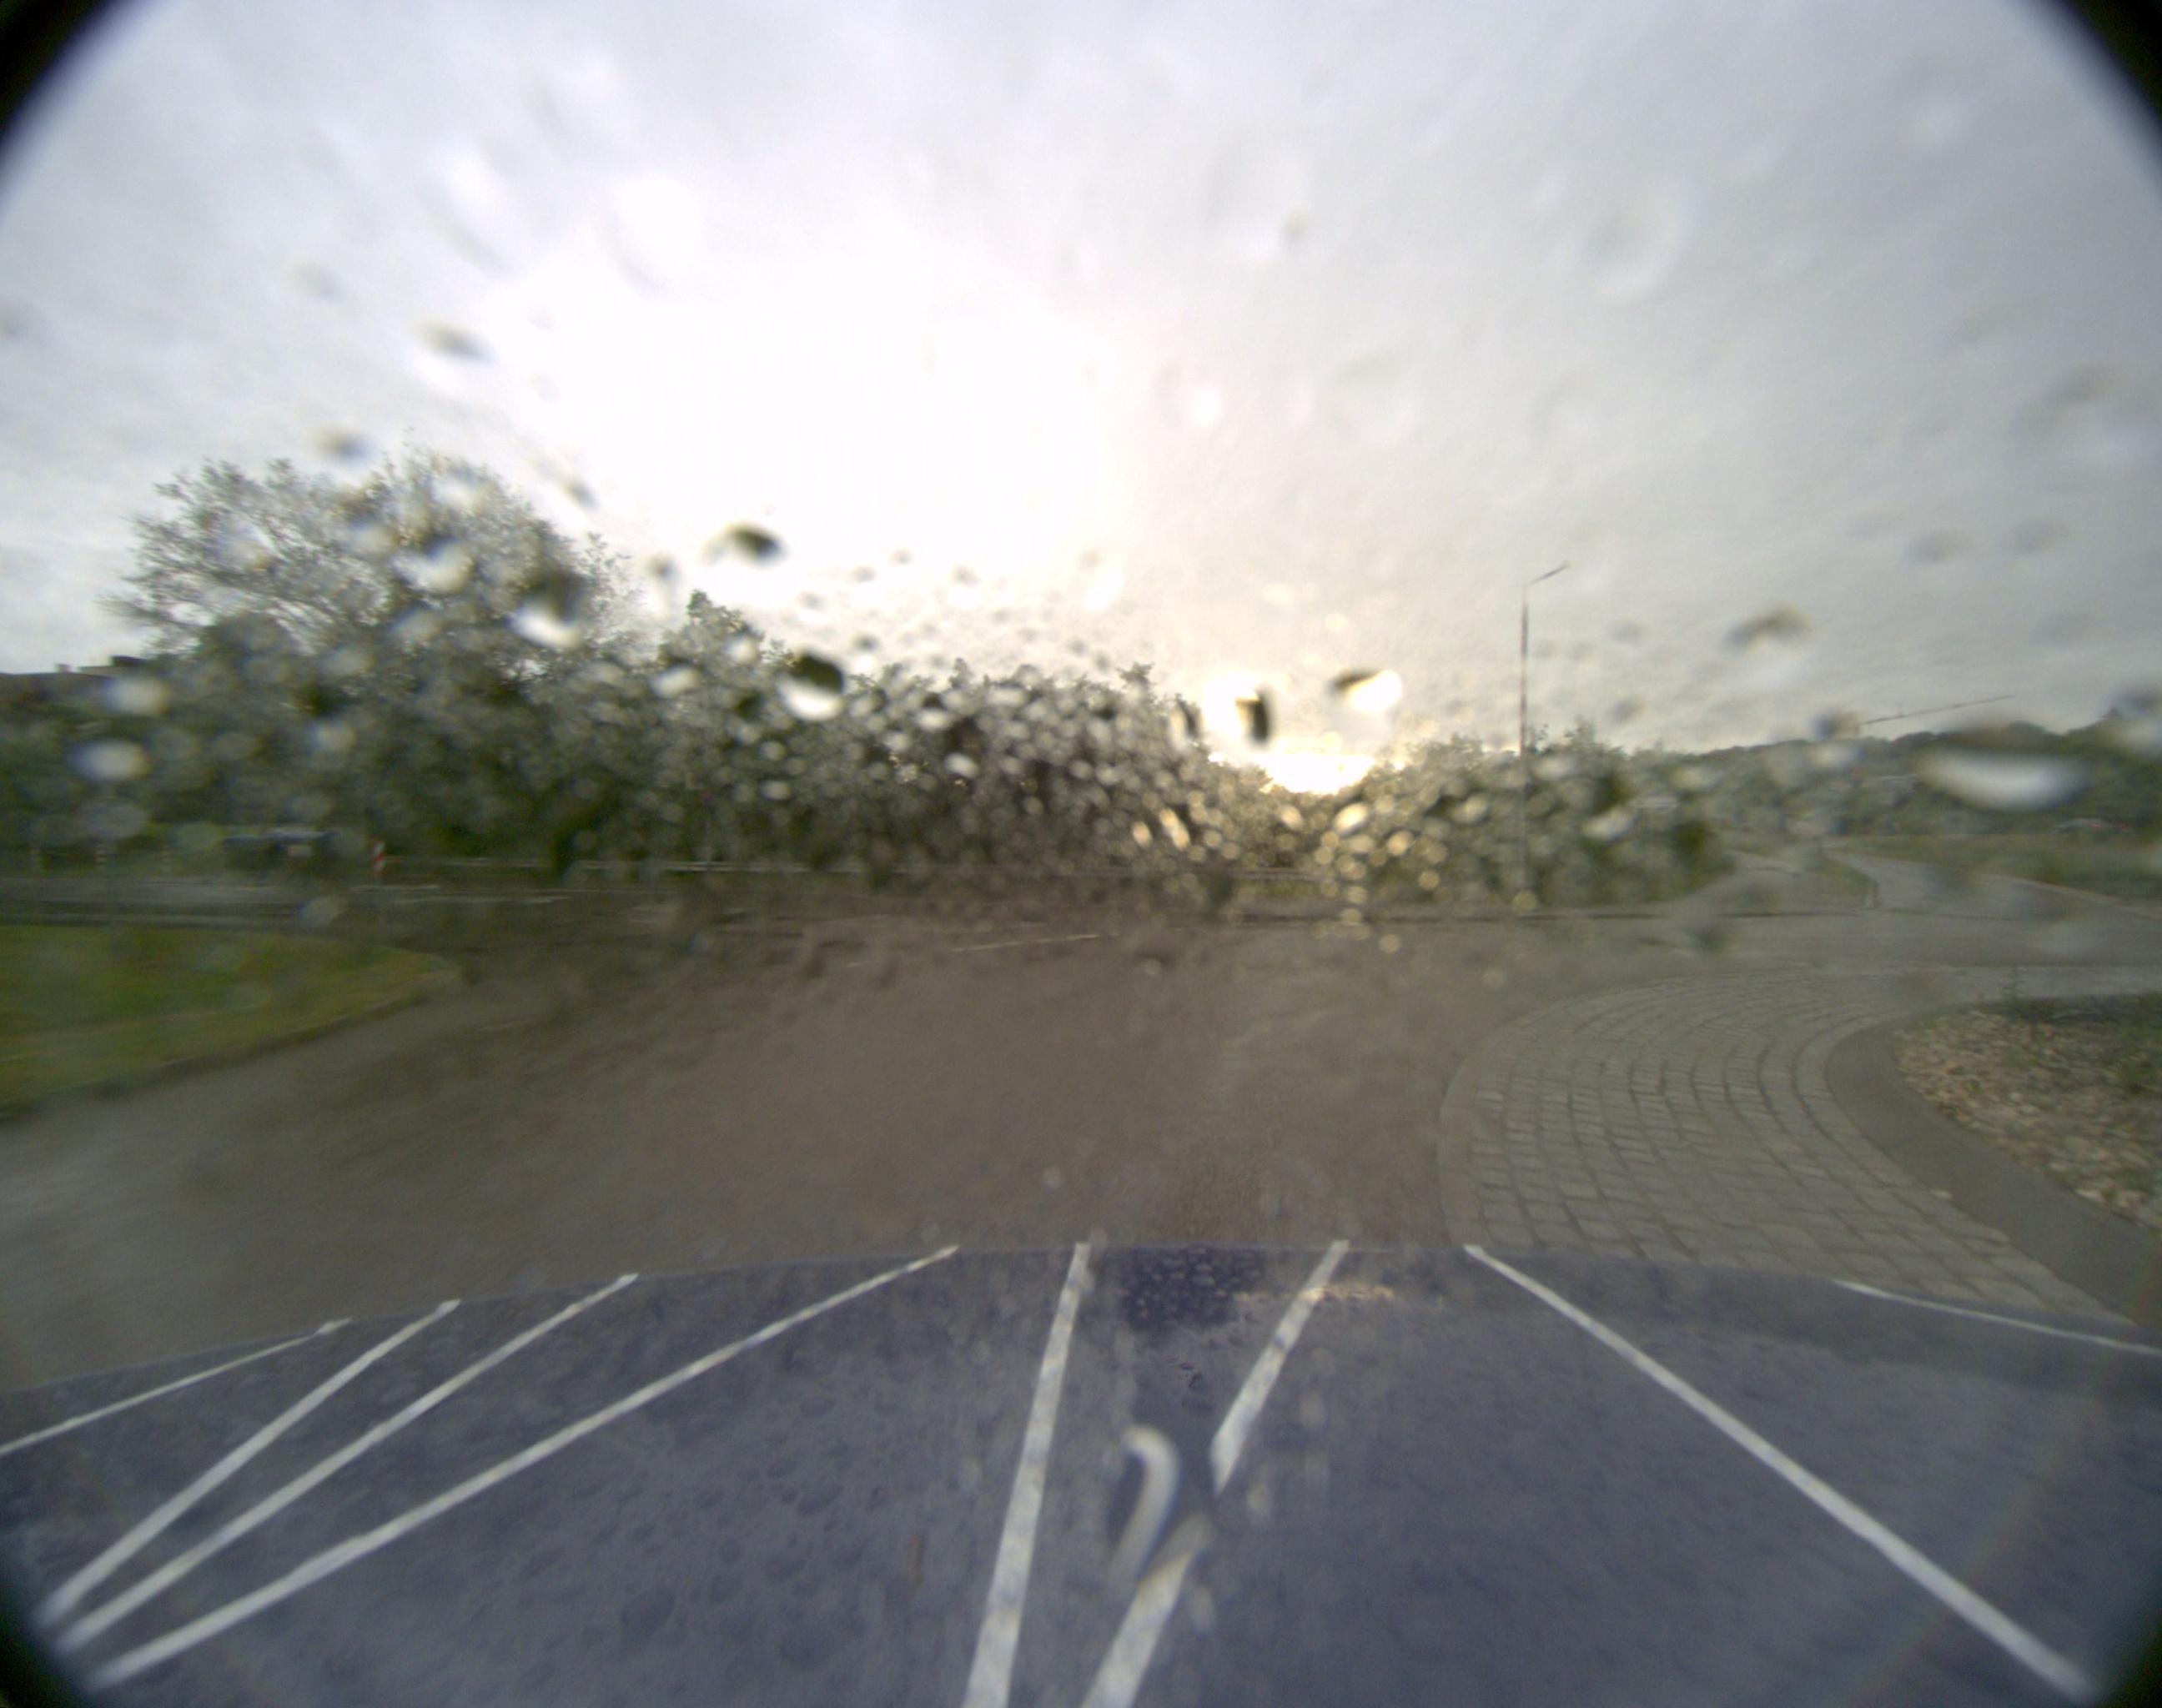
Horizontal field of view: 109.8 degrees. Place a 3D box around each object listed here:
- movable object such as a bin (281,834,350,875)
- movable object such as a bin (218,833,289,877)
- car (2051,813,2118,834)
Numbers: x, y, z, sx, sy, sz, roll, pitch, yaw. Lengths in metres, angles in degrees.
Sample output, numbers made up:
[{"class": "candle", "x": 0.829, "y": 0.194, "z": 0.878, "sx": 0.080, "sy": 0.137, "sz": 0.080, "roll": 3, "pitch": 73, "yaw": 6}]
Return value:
[{"class": "movable object such as a bin", "x": -26.271, "y": -0.003, "z": 26.103, "sx": 1.075, "sy": 1.335, "sz": 1.196, "roll": 0, "pitch": 4, "yaw": -5}, {"class": "movable object such as a bin", "x": -27.747, "y": 0.035, "z": 25.506, "sx": 1.075, "sy": 1.429, "sz": 1.197, "roll": 0, "pitch": 1, "yaw": -5}, {"class": "car", "x": 82.401, "y": -2.498, "z": 62.473, "sx": 1.692, "sy": 1.559, "sz": 4.550, "roll": -3, "pitch": 0, "yaw": 30}]
